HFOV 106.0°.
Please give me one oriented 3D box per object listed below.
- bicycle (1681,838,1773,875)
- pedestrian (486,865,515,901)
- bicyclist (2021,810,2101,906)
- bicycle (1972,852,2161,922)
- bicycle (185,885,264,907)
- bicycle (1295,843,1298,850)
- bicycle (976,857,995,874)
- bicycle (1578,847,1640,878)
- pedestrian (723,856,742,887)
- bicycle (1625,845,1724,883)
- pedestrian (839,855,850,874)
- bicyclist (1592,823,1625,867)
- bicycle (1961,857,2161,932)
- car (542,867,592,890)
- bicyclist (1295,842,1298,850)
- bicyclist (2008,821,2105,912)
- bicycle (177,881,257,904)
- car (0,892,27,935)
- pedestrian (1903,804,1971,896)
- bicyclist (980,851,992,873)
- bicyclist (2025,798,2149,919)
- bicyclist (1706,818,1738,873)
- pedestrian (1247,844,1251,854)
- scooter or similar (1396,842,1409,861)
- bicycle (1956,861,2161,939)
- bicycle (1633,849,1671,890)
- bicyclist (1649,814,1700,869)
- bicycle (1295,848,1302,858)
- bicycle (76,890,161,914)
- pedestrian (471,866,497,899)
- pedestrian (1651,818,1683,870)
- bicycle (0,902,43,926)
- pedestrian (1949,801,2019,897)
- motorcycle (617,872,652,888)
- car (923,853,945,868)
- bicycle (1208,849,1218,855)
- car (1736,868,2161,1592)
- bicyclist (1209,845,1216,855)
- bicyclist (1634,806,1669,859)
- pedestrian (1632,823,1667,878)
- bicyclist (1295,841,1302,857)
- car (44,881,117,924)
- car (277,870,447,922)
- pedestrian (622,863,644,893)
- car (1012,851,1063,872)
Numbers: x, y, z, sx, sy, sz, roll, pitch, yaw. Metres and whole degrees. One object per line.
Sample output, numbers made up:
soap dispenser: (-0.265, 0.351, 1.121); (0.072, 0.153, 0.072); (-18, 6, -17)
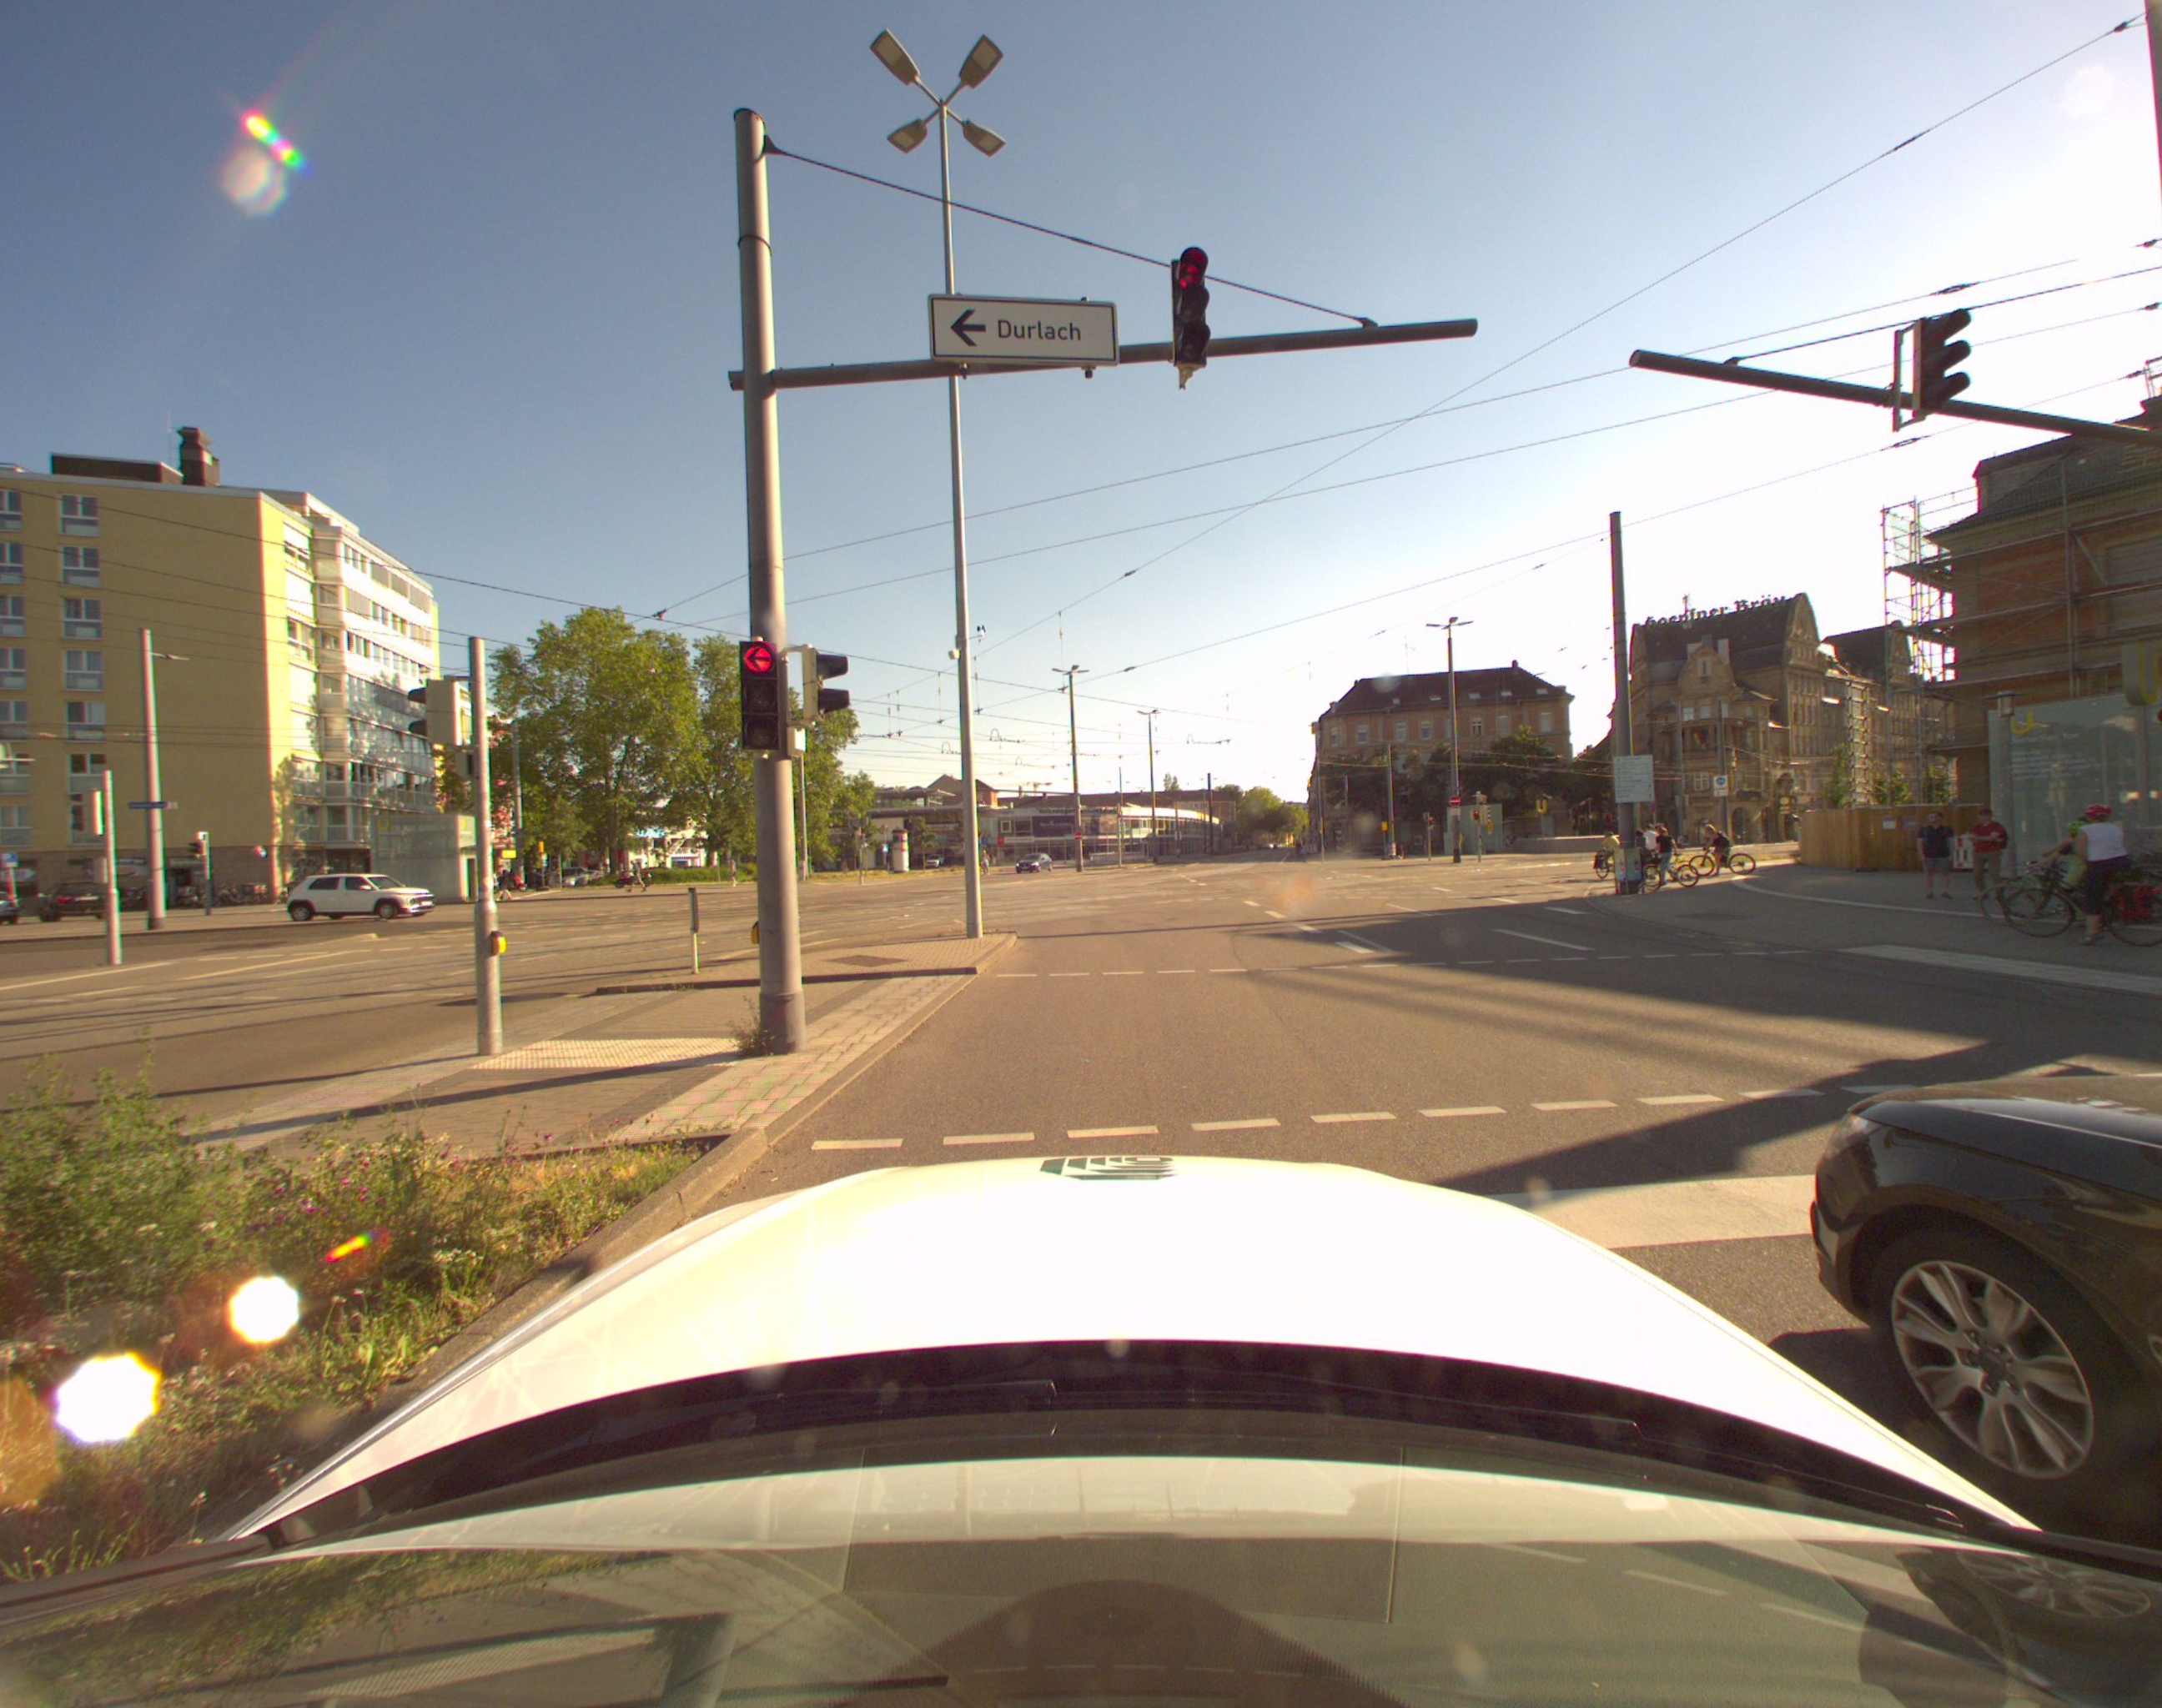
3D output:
bicycle: (21.145, 0.092, 26.724); (2.290, 1.049, 0.539); (-5, -1, 36)
pedestrian: (-27.702, 1.394, 38.883); (0.790, 1.706, 0.760); (-1, -1, 9)
bicyclist: (15.388, 0.066, 12.794); (0.619, 1.454, 0.667); (0, -1, -27)
bicycle: (15.456, 0.483, 12.673); (0.661, 0.963, 2.018); (-4, 1, -25)
bicycle: (-46.433, 2.267, 44.200); (3.041, 1.151, 0.637); (0, -1, -16)
bicycle: (30.320, -1.043, 114.472); (0.407, 0.941, 1.852); (-1, -1, 15)
bicycle: (-7.038, 0.851, 59.959); (0.607, 1.189, 1.878); (-1, -1, 19)
bicycle: (19.184, 0.281, 29.644); (0.533, 1.049, 2.315); (0, 1, -6)
pedestrian: (-21.529, 1.091, 50.283); (0.790, 1.886, 0.760); (-1, -1, 9)
bicycle: (17.179, 0.296, 23.652); (0.701, 1.049, 2.303); (0, -1, -22)
pedestrian: (-21.708, 0.956, 74.858); (0.854, 1.694, 0.497); (0, -1, -1)
bicyclist: (19.181, -0.313, 29.646); (0.514, 1.557, 0.945); (0, -1, -6)
bicycle: (14.447, 0.549, 11.994); (0.657, 0.963, 2.033); (-4, 0, -3)
car: (-37.312, 1.720, 59.225); (1.772, 1.567, 3.983); (0, -1, -12)
bicyclist: (30.305, -1.122, 114.472); (0.405, 1.116, 0.400); (-1, -1, 13)
bicyclist: (14.430, 0.179, 12.063); (0.614, 1.315, 0.673); (0, -1, -3)
bicycle: (-46.200, 2.053, 43.570); (3.041, 1.151, 0.637); (0, -1, -16)
car: (-46.924, 2.538, 34.844); (3.948, 1.706, 2.013); (-1, -1, 35)
pedestrian: (17.338, -0.084, 16.509); (0.672, 1.807, 0.680); (-3, 0, -19)
bicyclist: (-6.998, 0.585, 60.084); (0.593, 1.615, 0.827); (-1, -1, 19)
bicyclist: (13.457, 0.056, 10.915); (0.664, 1.553, 0.794); (0, -1, -3)
bicyclist: (21.075, -0.276, 26.776); (0.785, 1.779, 0.526); (-1, -1, 37)
pedestrian: (35.144, -0.990, 170.838); (0.713, 2.014, 0.758); (0, -1, 3)
scooter or similar: (24.662, -0.178, 62.473); (0.780, 1.376, 1.916); (-1, -1, 16)
bicycle: (13.452, 0.587, 11.168); (0.656, 0.963, 2.033); (0, -1, -3)
bicycle: (15.959, 0.400, 22.784); (0.692, 1.049, 2.335); (0, 1, 31)
bicyclist: (17.195, -0.338, 23.600); (0.711, 1.557, 0.940); (0, -1, -23)
bicycle: (22.731, -0.113, 85.083); (0.652, 0.952, 1.607); (-1, -1, 17)
bicycle: (-50.217, 2.474, 42.522); (3.041, 1.151, 0.637); (0, -1, -16)
pedestrian: (-31.054, 1.462, 42.363); (0.790, 1.706, 0.760); (-1, -1, 9)
pedestrian: (21.886, -0.353, 30.428); (0.646, 1.922, 0.689); (0, -1, -6)
bicycle: (-54.459, 3.027, 40.903); (3.041, 1.151, 0.637); (0, -1, -16)
pedestrian: (17.541, -0.091, 15.831); (0.672, 1.807, 0.680); (0, -1, -19)
motorcycle: (-27.269, 1.578, 49.744); (1.779, 0.914, 0.675); (0, -1, -19)
car: (-18.009, 0.834, 99.957); (1.988, 1.750, 3.997); (0, -1, -1)
bicycle: (19.489, -0.235, 120.447); (0.632, 0.870, 2.249); (-1, -1, 32)
car: (2.896, 0.735, 0.649); (1.617, 1.404, 4.001); (0, 0, 2)
bicyclist: (19.469, -0.587, 120.444); (0.647, 1.572, 0.928); (-1, -1, 31)
bicyclist: (15.941, -0.589, 22.784); (0.701, 1.439, 0.953); (-1, -1, 30)
pedestrian: (21.158, -0.128, 30.303); (0.730, 2.014, 0.760); (0, -1, -6)
bicyclist: (22.756, -0.489, 85.195); (0.516, 1.700, 0.517); (0, -1, 4)
car: (-44.223, 2.101, 35.968); (3.948, 1.706, 1.730); (-1, -1, 35)
car: (-24.584, 1.402, 27.993); (3.986, 1.662, 1.781); (0, -1, -9)
pedestrian: (-25.389, 1.366, 46.146); (0.790, 1.706, 0.760); (-1, -1, 9)
car: (-3.274, 0.563, 61.935); (1.975, 1.585, 4.024); (-1, -1, 29)
